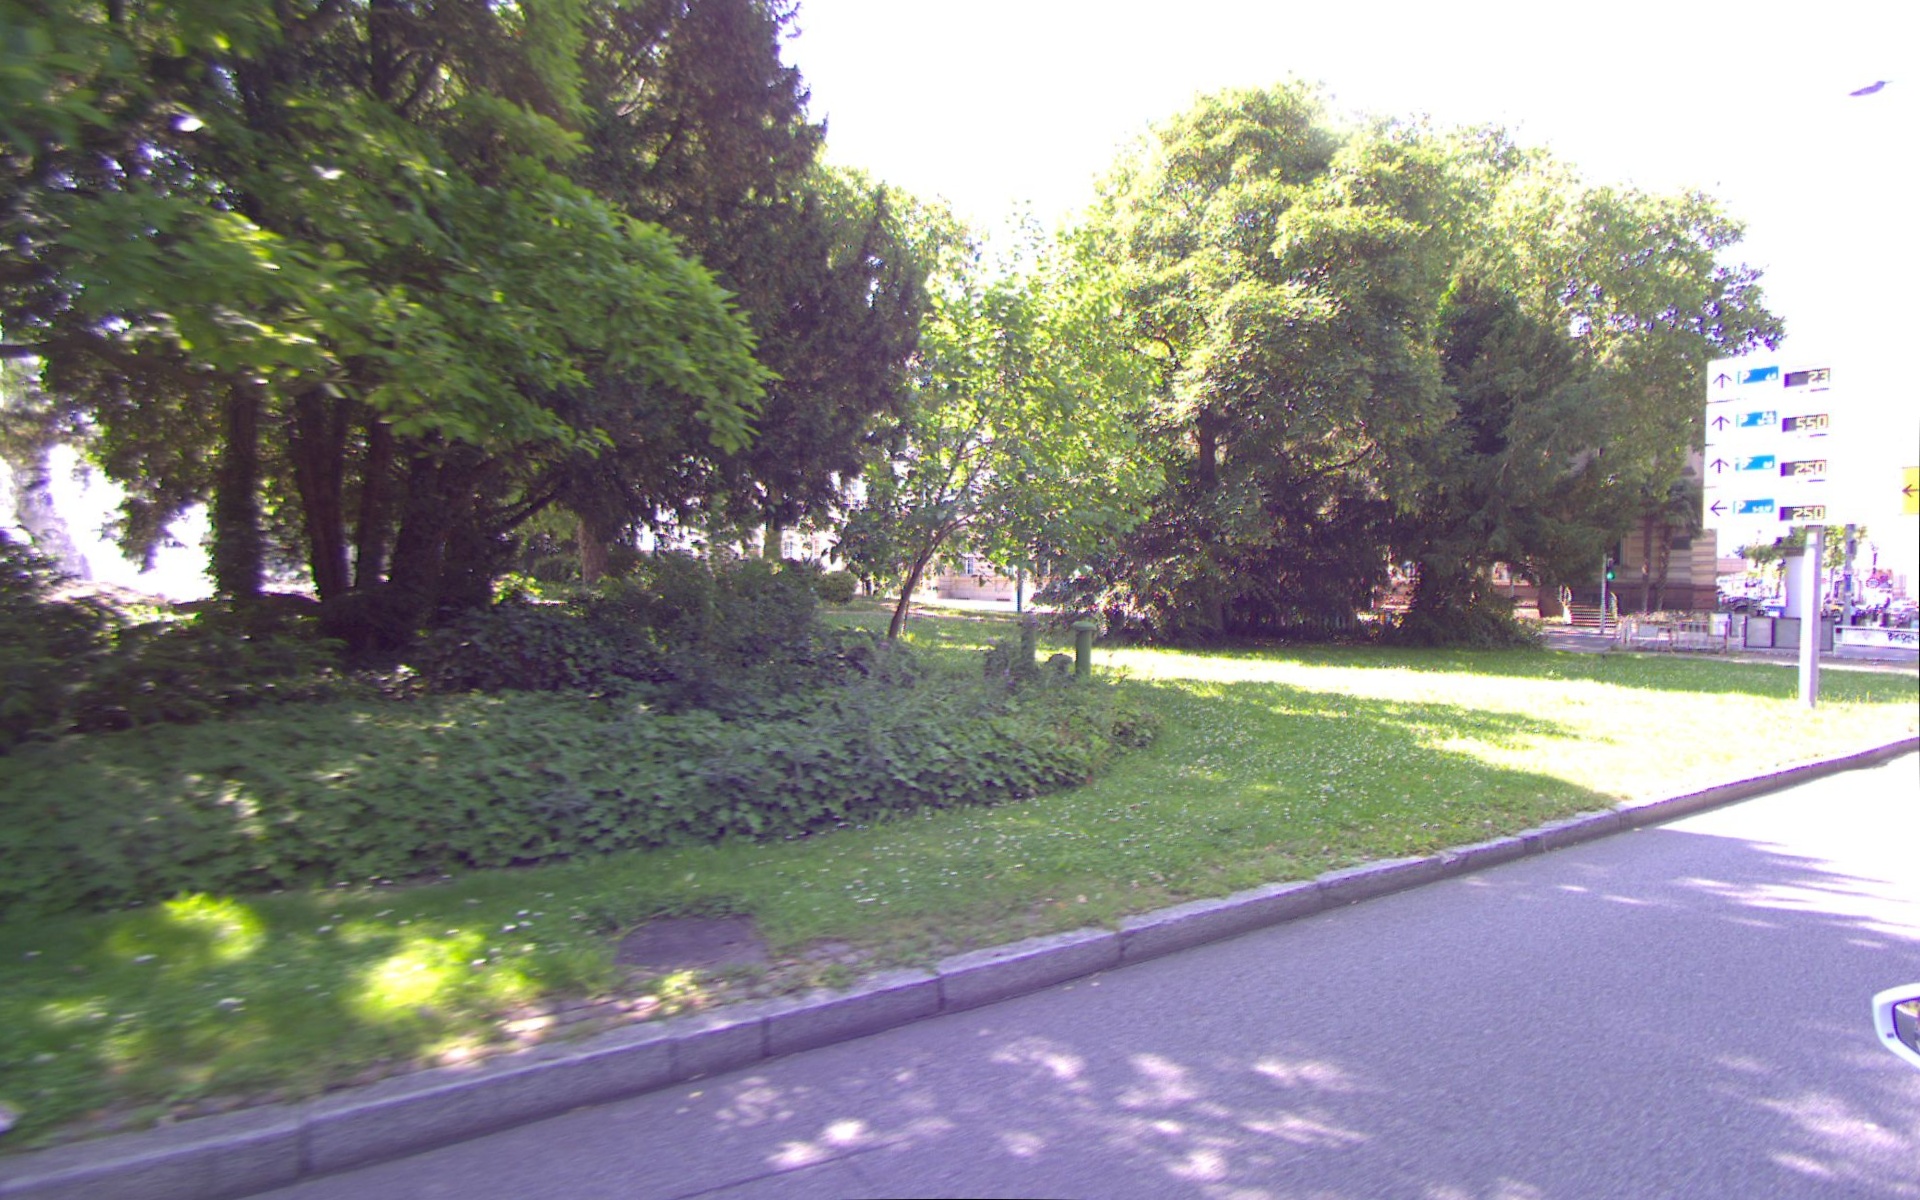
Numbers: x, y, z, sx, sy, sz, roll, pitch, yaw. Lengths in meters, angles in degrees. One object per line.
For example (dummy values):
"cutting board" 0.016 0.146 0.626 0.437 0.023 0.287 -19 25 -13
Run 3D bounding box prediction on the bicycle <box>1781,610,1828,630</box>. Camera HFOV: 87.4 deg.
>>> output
"bicycle" 49.232 1.149 58.569 1.931 1.031 0.670 3 1 24

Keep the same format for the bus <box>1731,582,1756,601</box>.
"bus" 151.742 -1.647 194.603 2.730 3.654 8.953 1 1 31

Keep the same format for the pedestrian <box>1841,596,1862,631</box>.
"pedestrian" 44.345 0.684 49.962 0.685 1.717 0.688 1 0 37

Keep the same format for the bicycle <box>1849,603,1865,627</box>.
"bicycle" 44.596 0.741 49.914 0.425 1.135 2.229 4 1 45

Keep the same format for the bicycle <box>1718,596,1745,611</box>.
"bicycle" 76.839 0.342 100.048 2.033 1.306 0.367 4 2 28

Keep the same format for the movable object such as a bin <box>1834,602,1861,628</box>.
"movable object such as a bin" 54.528 0.910 61.715 1.110 1.470 1.431 4 4 40

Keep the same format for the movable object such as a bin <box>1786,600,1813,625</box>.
"movable object such as a bin" 52.887 0.784 63.284 1.194 1.470 1.357 4 4 40

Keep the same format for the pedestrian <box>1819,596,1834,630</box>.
"pedestrian" 43.942 0.645 50.939 0.543 1.687 0.931 1 0 43

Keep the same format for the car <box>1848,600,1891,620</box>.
"car" 71.398 0.805 78.887 1.837 1.460 3.989 1 -1 33

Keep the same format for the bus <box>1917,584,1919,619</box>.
"bus" 72.785 -0.283 72.506 2.841 3.792 12.391 4 2 33

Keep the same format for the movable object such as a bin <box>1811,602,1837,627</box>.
"movable object such as a bin" 53.680 0.896 62.441 1.110 1.470 1.431 4 4 40

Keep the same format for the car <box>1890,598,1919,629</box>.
"car" 46.034 0.616 47.871 1.911 1.373 4.235 1 1 35

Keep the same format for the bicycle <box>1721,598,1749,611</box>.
"bicycle" 75.715 0.402 98.150 2.038 1.145 0.616 4 3 36

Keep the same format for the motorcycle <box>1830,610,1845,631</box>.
"motorcycle" 44.284 1.010 50.675 0.449 1.011 2.148 4 2 43

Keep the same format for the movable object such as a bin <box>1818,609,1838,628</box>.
"movable object such as a bin" 52.865 1.106 61.166 0.711 1.113 0.655 3 3 27
